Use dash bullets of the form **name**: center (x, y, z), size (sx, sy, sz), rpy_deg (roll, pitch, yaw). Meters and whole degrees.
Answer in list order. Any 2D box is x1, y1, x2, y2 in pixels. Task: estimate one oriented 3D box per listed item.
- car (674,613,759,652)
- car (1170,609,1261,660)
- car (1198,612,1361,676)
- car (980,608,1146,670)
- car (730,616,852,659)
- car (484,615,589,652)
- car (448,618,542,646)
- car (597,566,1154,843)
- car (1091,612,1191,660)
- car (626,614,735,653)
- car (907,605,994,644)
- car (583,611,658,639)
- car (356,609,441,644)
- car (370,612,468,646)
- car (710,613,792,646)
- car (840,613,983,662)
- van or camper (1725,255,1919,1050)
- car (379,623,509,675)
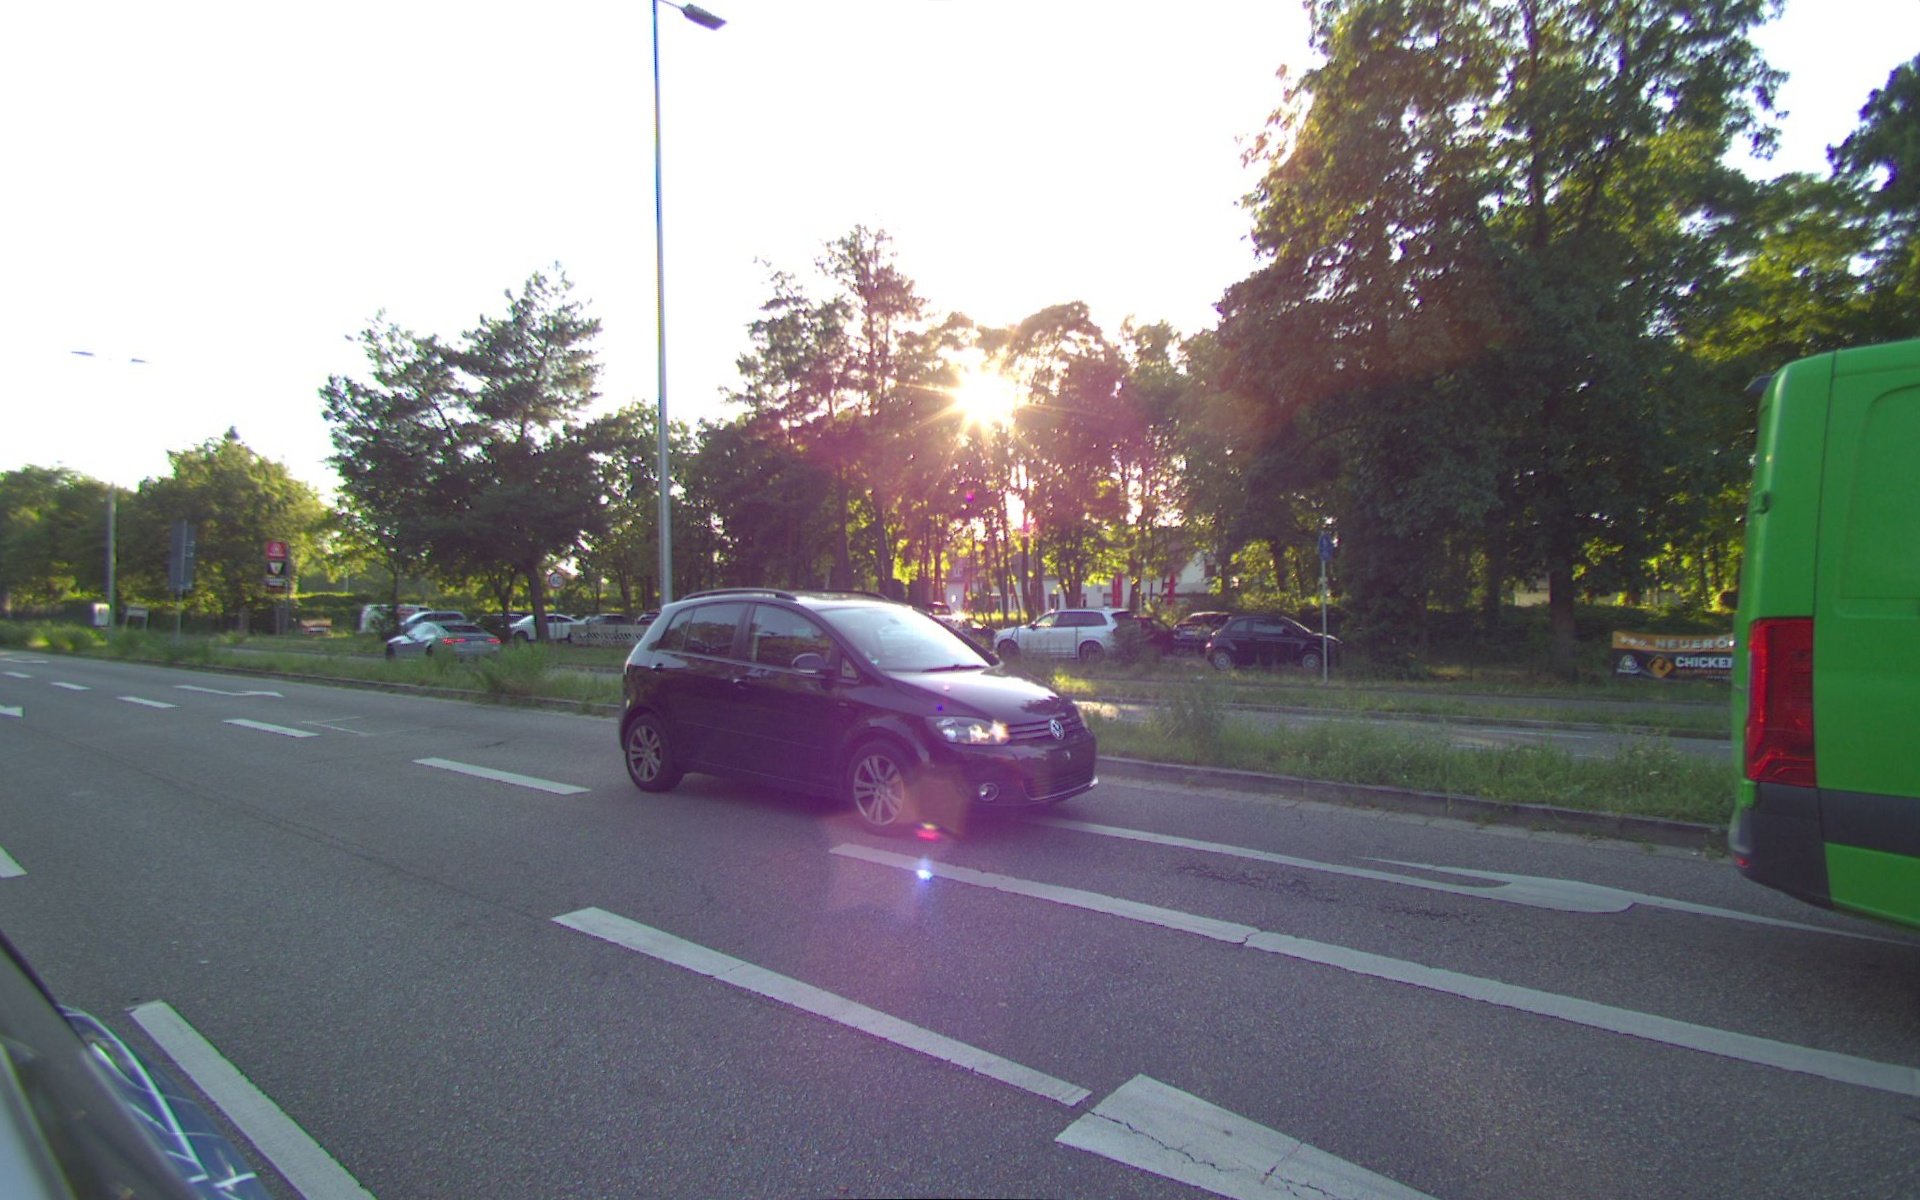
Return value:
- **car**: center (-9.972, 1.311, 41.579), size (1.657, 1.538, 3.060), rpy_deg (-1, -2, 38)
- **car**: center (9.000, 1.176, 35.450), size (1.914, 1.663, 3.954), rpy_deg (-1, -1, 34)
- **car**: center (8.573, 1.149, 27.256), size (3.807, 1.609, 1.838), rpy_deg (-1, -2, 36)
- **car**: center (3.174, 1.179, 31.811), size (4.913, 1.800, 1.975), rpy_deg (-1, -2, 37)
- **car**: center (-6.605, 1.418, 39.300), size (4.701, 1.560, 1.975), rpy_deg (-1, -2, 37)
- **car**: center (-20.804, 1.624, 49.850), size (1.908, 1.767, 4.441), rpy_deg (-1, -2, 39)
- **car**: center (-23.162, 1.582, 50.525), size (1.731, 1.322, 3.947), rpy_deg (-1, -2, 39)
- **car**: center (-0.773, 0.632, 7.743), size (3.995, 1.564, 1.974), rpy_deg (-1, -2, 38)
- **car**: center (6.823, 1.314, 37.852), size (1.918, 1.663, 3.944), rpy_deg (-1, -2, 42)
- **car**: center (-12.079, 1.420, 43.987), size (1.769, 1.629, 4.470), rpy_deg (-1, -2, 37)
- **car**: center (-0.386, 1.106, 45.118), size (1.765, 1.663, 3.947), rpy_deg (-1, -2, 39)
- **car**: center (-20.497, 1.509, 61.244), size (1.765, 1.663, 3.947), rpy_deg (-1, -2, 40)
- **car**: center (-32.530, 1.519, 58.687), size (1.764, 1.959, 3.949), rpy_deg (-1, -2, 38)
- **car**: center (-30.240, 1.609, 56.684), size (1.907, 1.811, 4.443), rpy_deg (-1, -2, 38)
- **car**: center (-10.902, 1.524, 52.954), size (1.765, 1.663, 3.947), rpy_deg (-1, -2, 40)
- **car**: center (-1.746, 1.288, 35.597), size (4.913, 1.619, 1.975), rpy_deg (-1, -2, 37)
- **van or camper**: center (5.470, 0.137, 2.270), size (5.891, 2.439, 1.973), rpy_deg (-1, -2, 40)
- **car**: center (-15.691, 1.432, 30.694), size (4.495, 1.452, 1.873), rpy_deg (-1, -2, 39)
